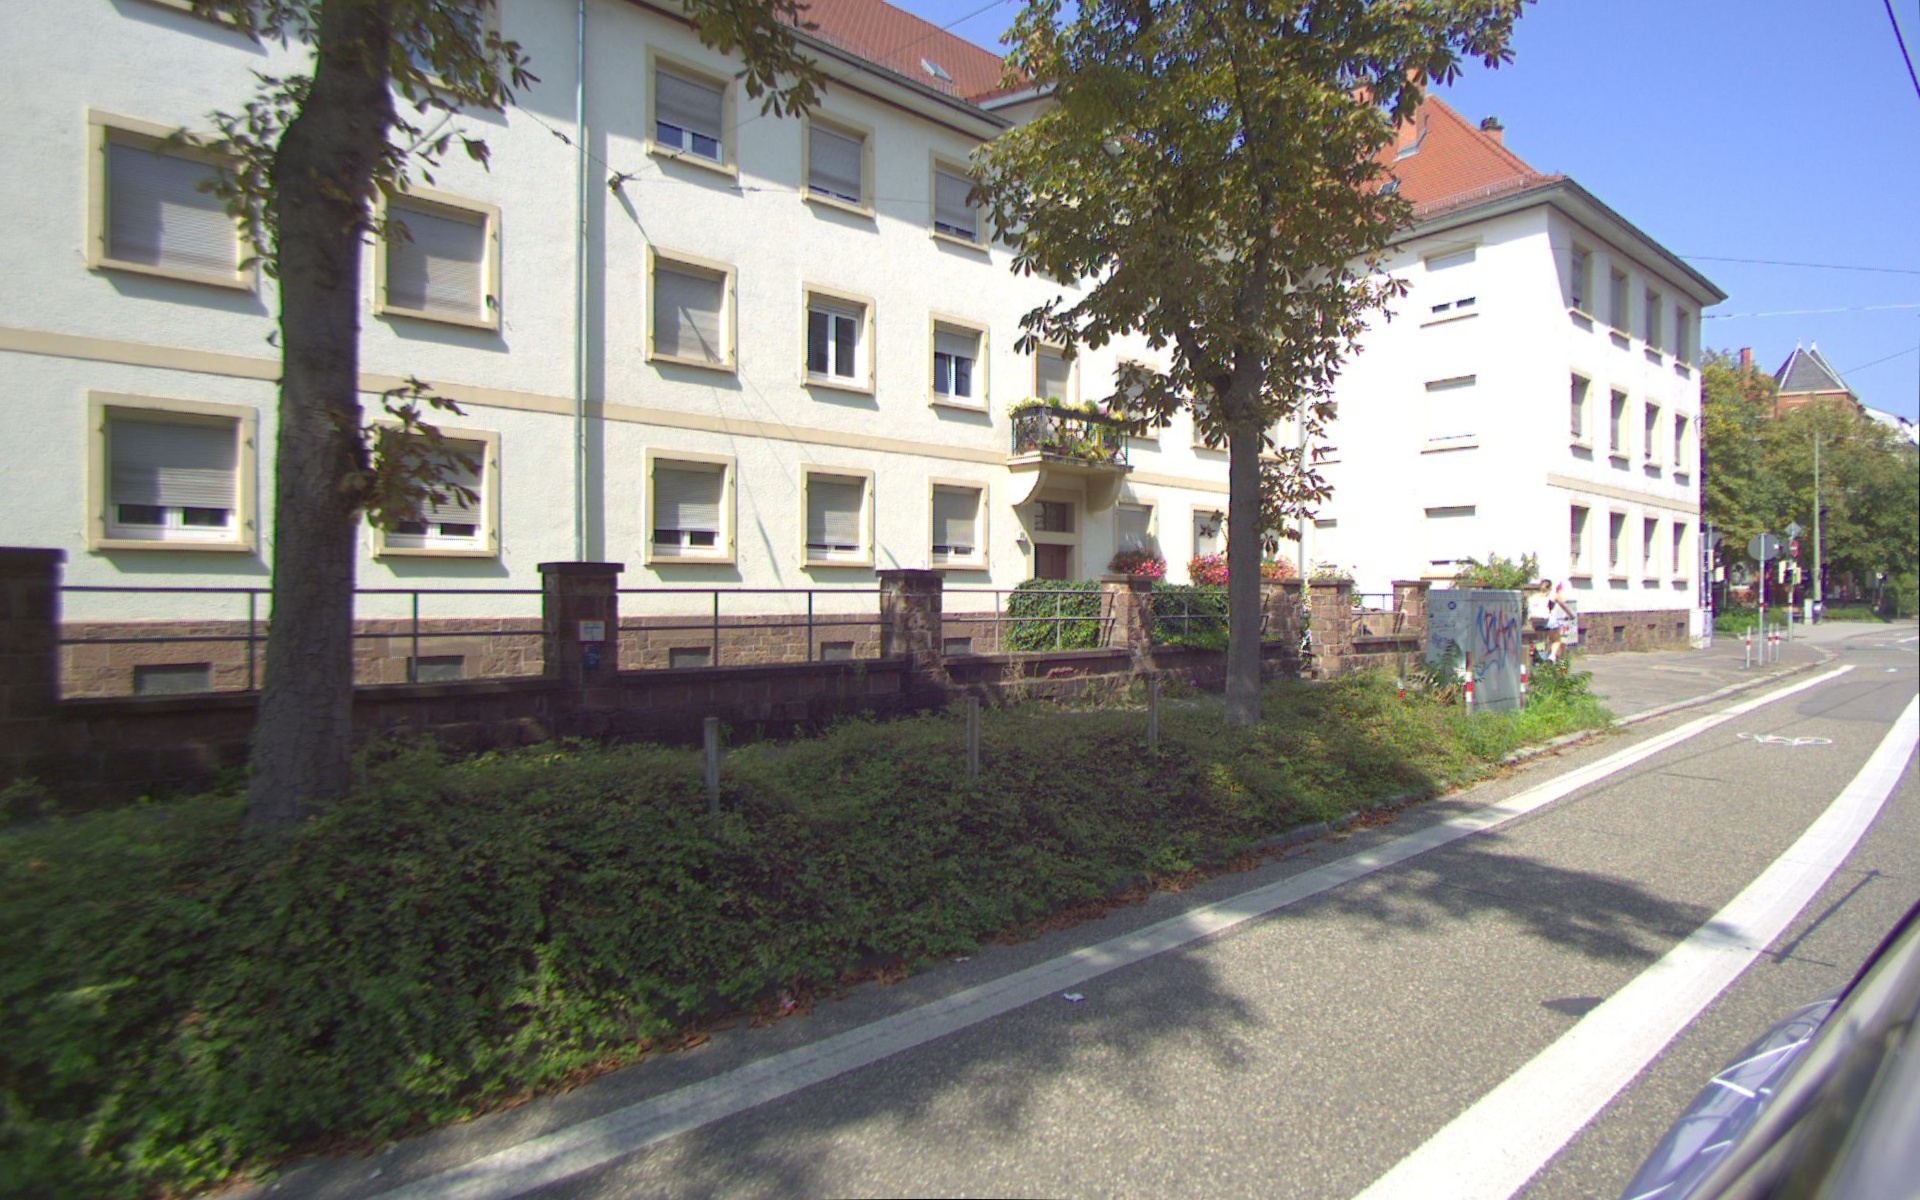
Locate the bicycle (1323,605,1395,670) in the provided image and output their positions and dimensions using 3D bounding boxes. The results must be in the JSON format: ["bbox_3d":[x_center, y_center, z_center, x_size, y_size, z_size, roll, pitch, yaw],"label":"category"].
[{"bbox_3d":[6.955,0.633,17.601,1.798,1.060,0.440,0,0,-44],"label":"bicycle"}]

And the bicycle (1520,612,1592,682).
[{"bbox_3d":[9.757,0.741,16.537,1.797,1.060,0.441,0,0,-40],"label":"bicycle"}]

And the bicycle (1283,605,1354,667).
[{"bbox_3d":[6.523,0.625,18.379,1.798,1.060,0.440,0,0,-44],"label":"bicycle"}]

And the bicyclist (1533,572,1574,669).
[{"bbox_3d":[9.625,0.323,16.424,0.463,1.531,0.438,0,0,-39],"label":"bicyclist"}]
